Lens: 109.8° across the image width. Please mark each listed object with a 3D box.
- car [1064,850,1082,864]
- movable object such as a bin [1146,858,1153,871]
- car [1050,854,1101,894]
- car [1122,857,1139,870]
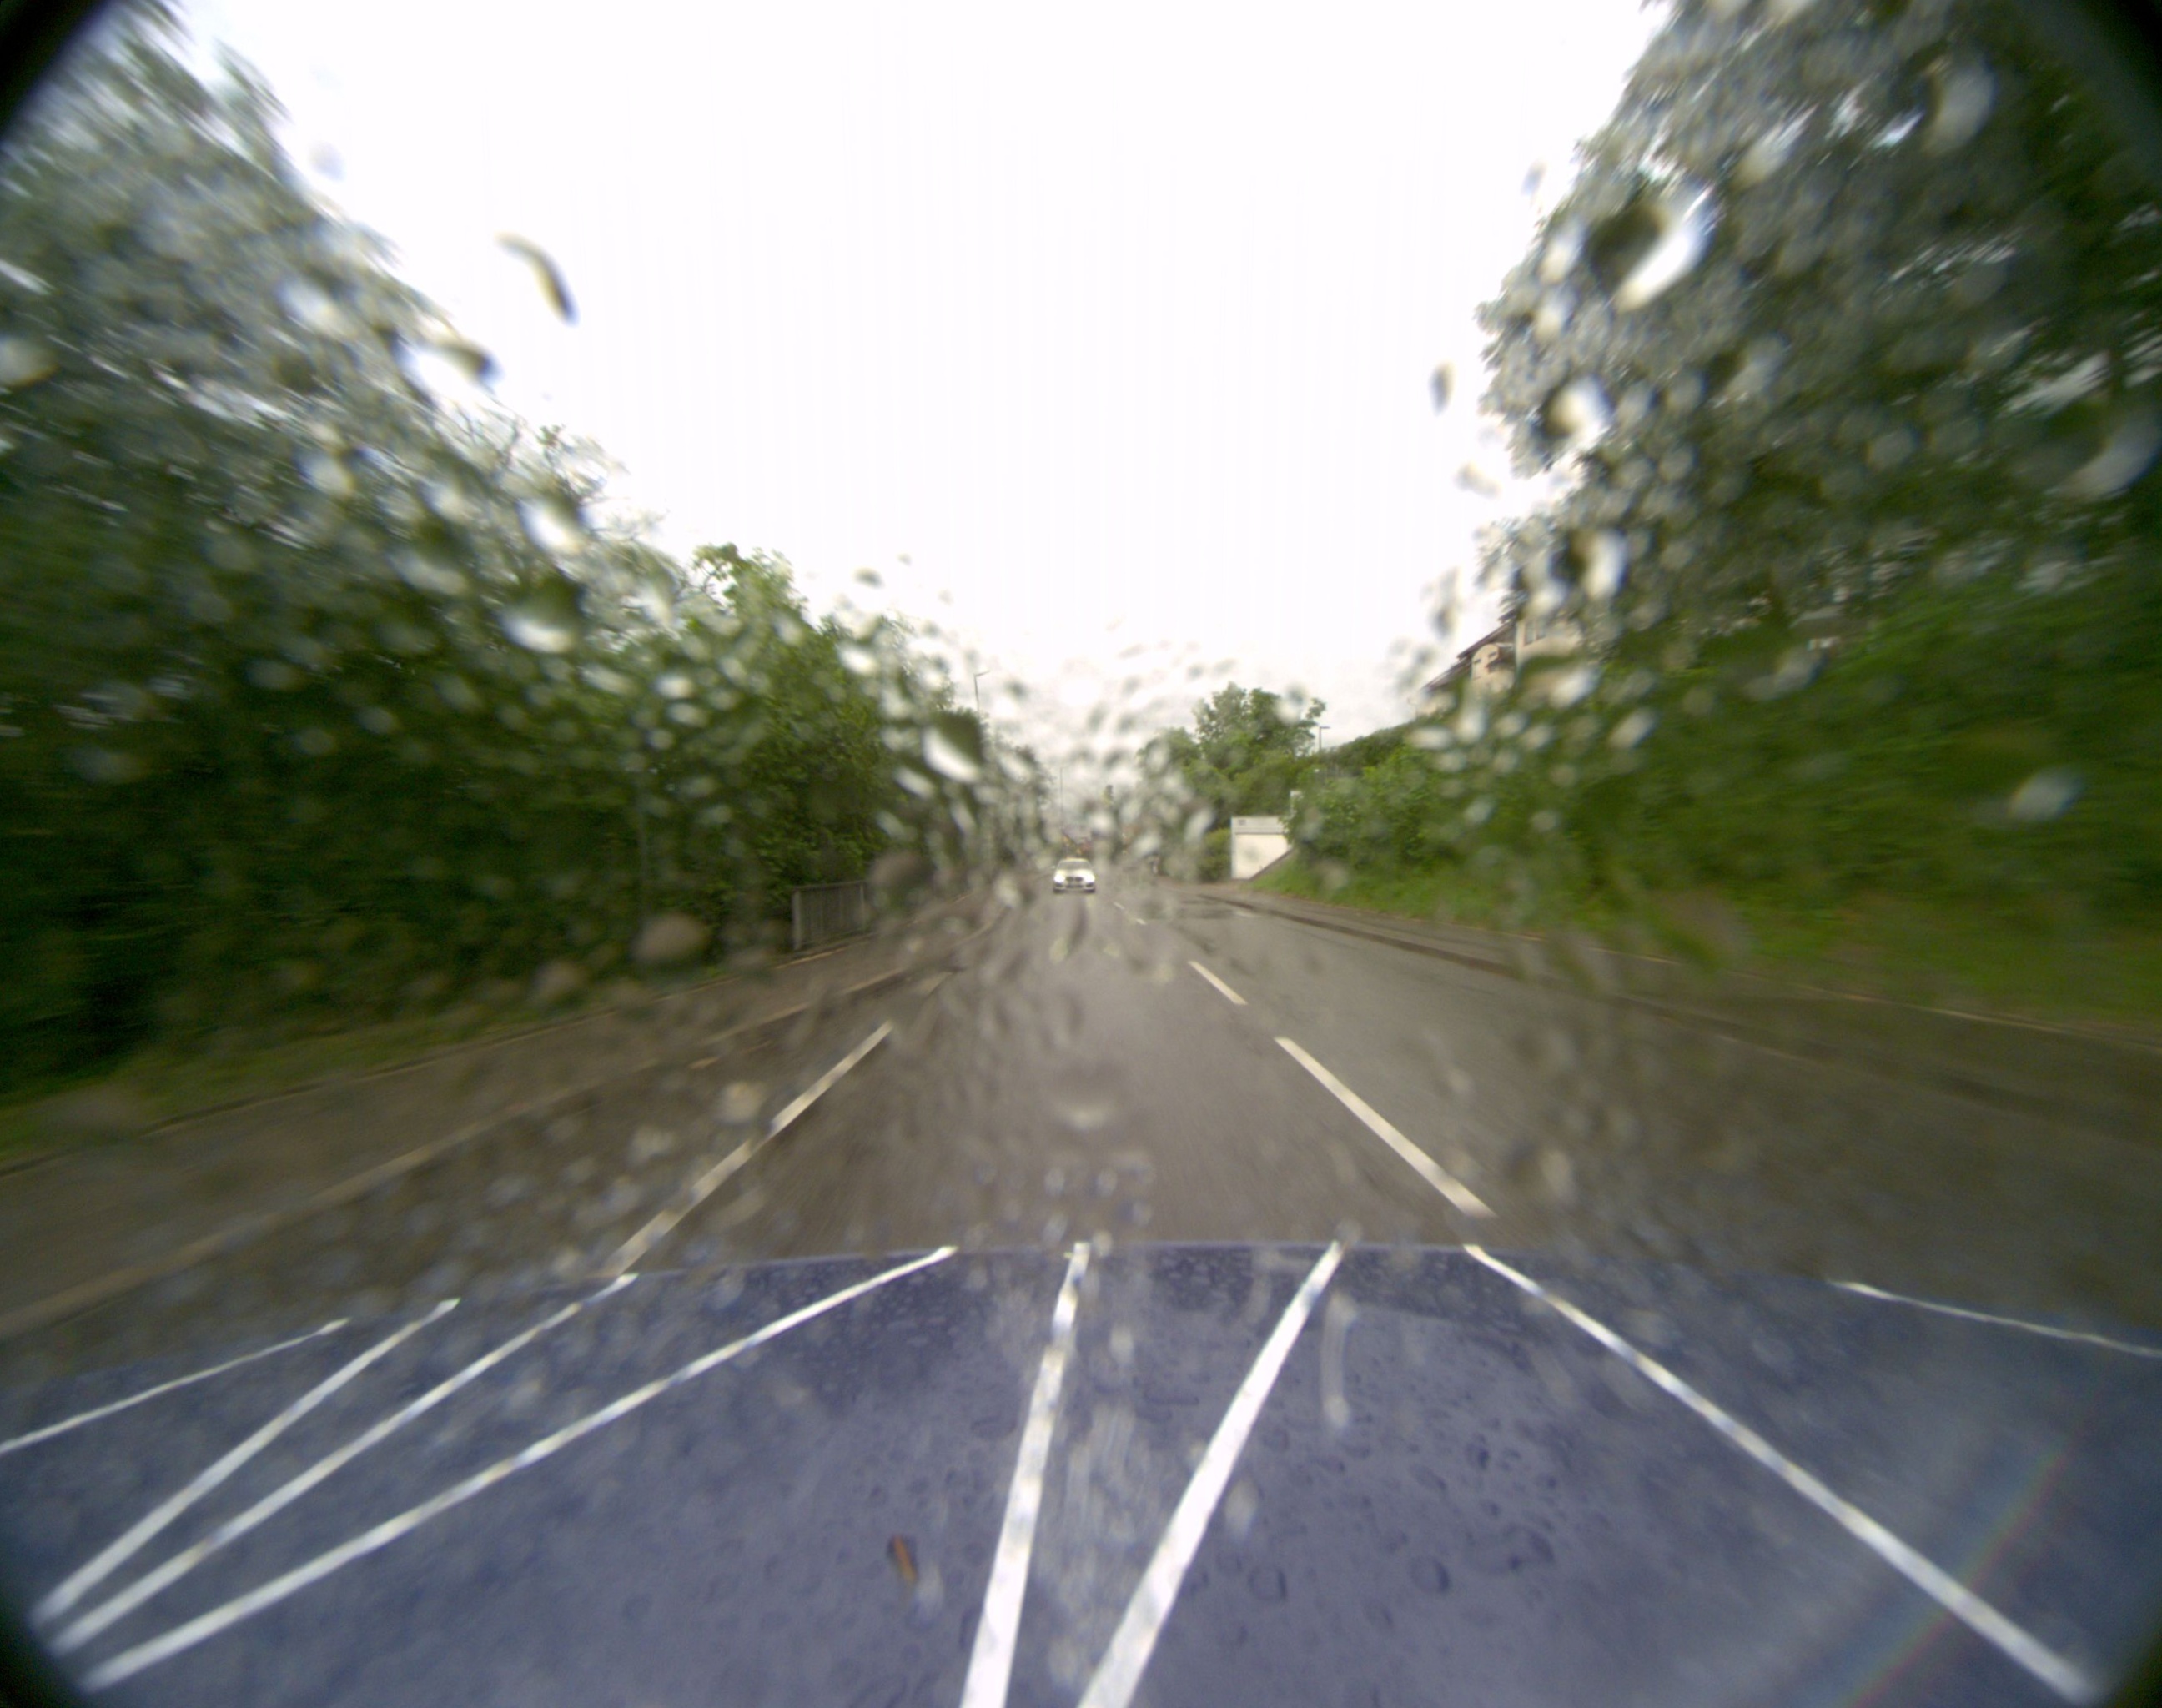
[{"bbox_3d":[-1.008,0.344,96.726,1.631,1.485,3.428,7,2,7],"label":"car"},{"bbox_3d":[5.998,0.917,66.490,0.649,1.109,0.505,1,1,7],"label":"movable object such as a bin"},{"bbox_3d":[-0.168,0.816,33.320,1.797,1.455,4.000,3,2,5],"label":"car"},{"bbox_3d":[5.190,0.982,79.280,1.654,1.377,3.530,0,0,2],"label":"car"}]
